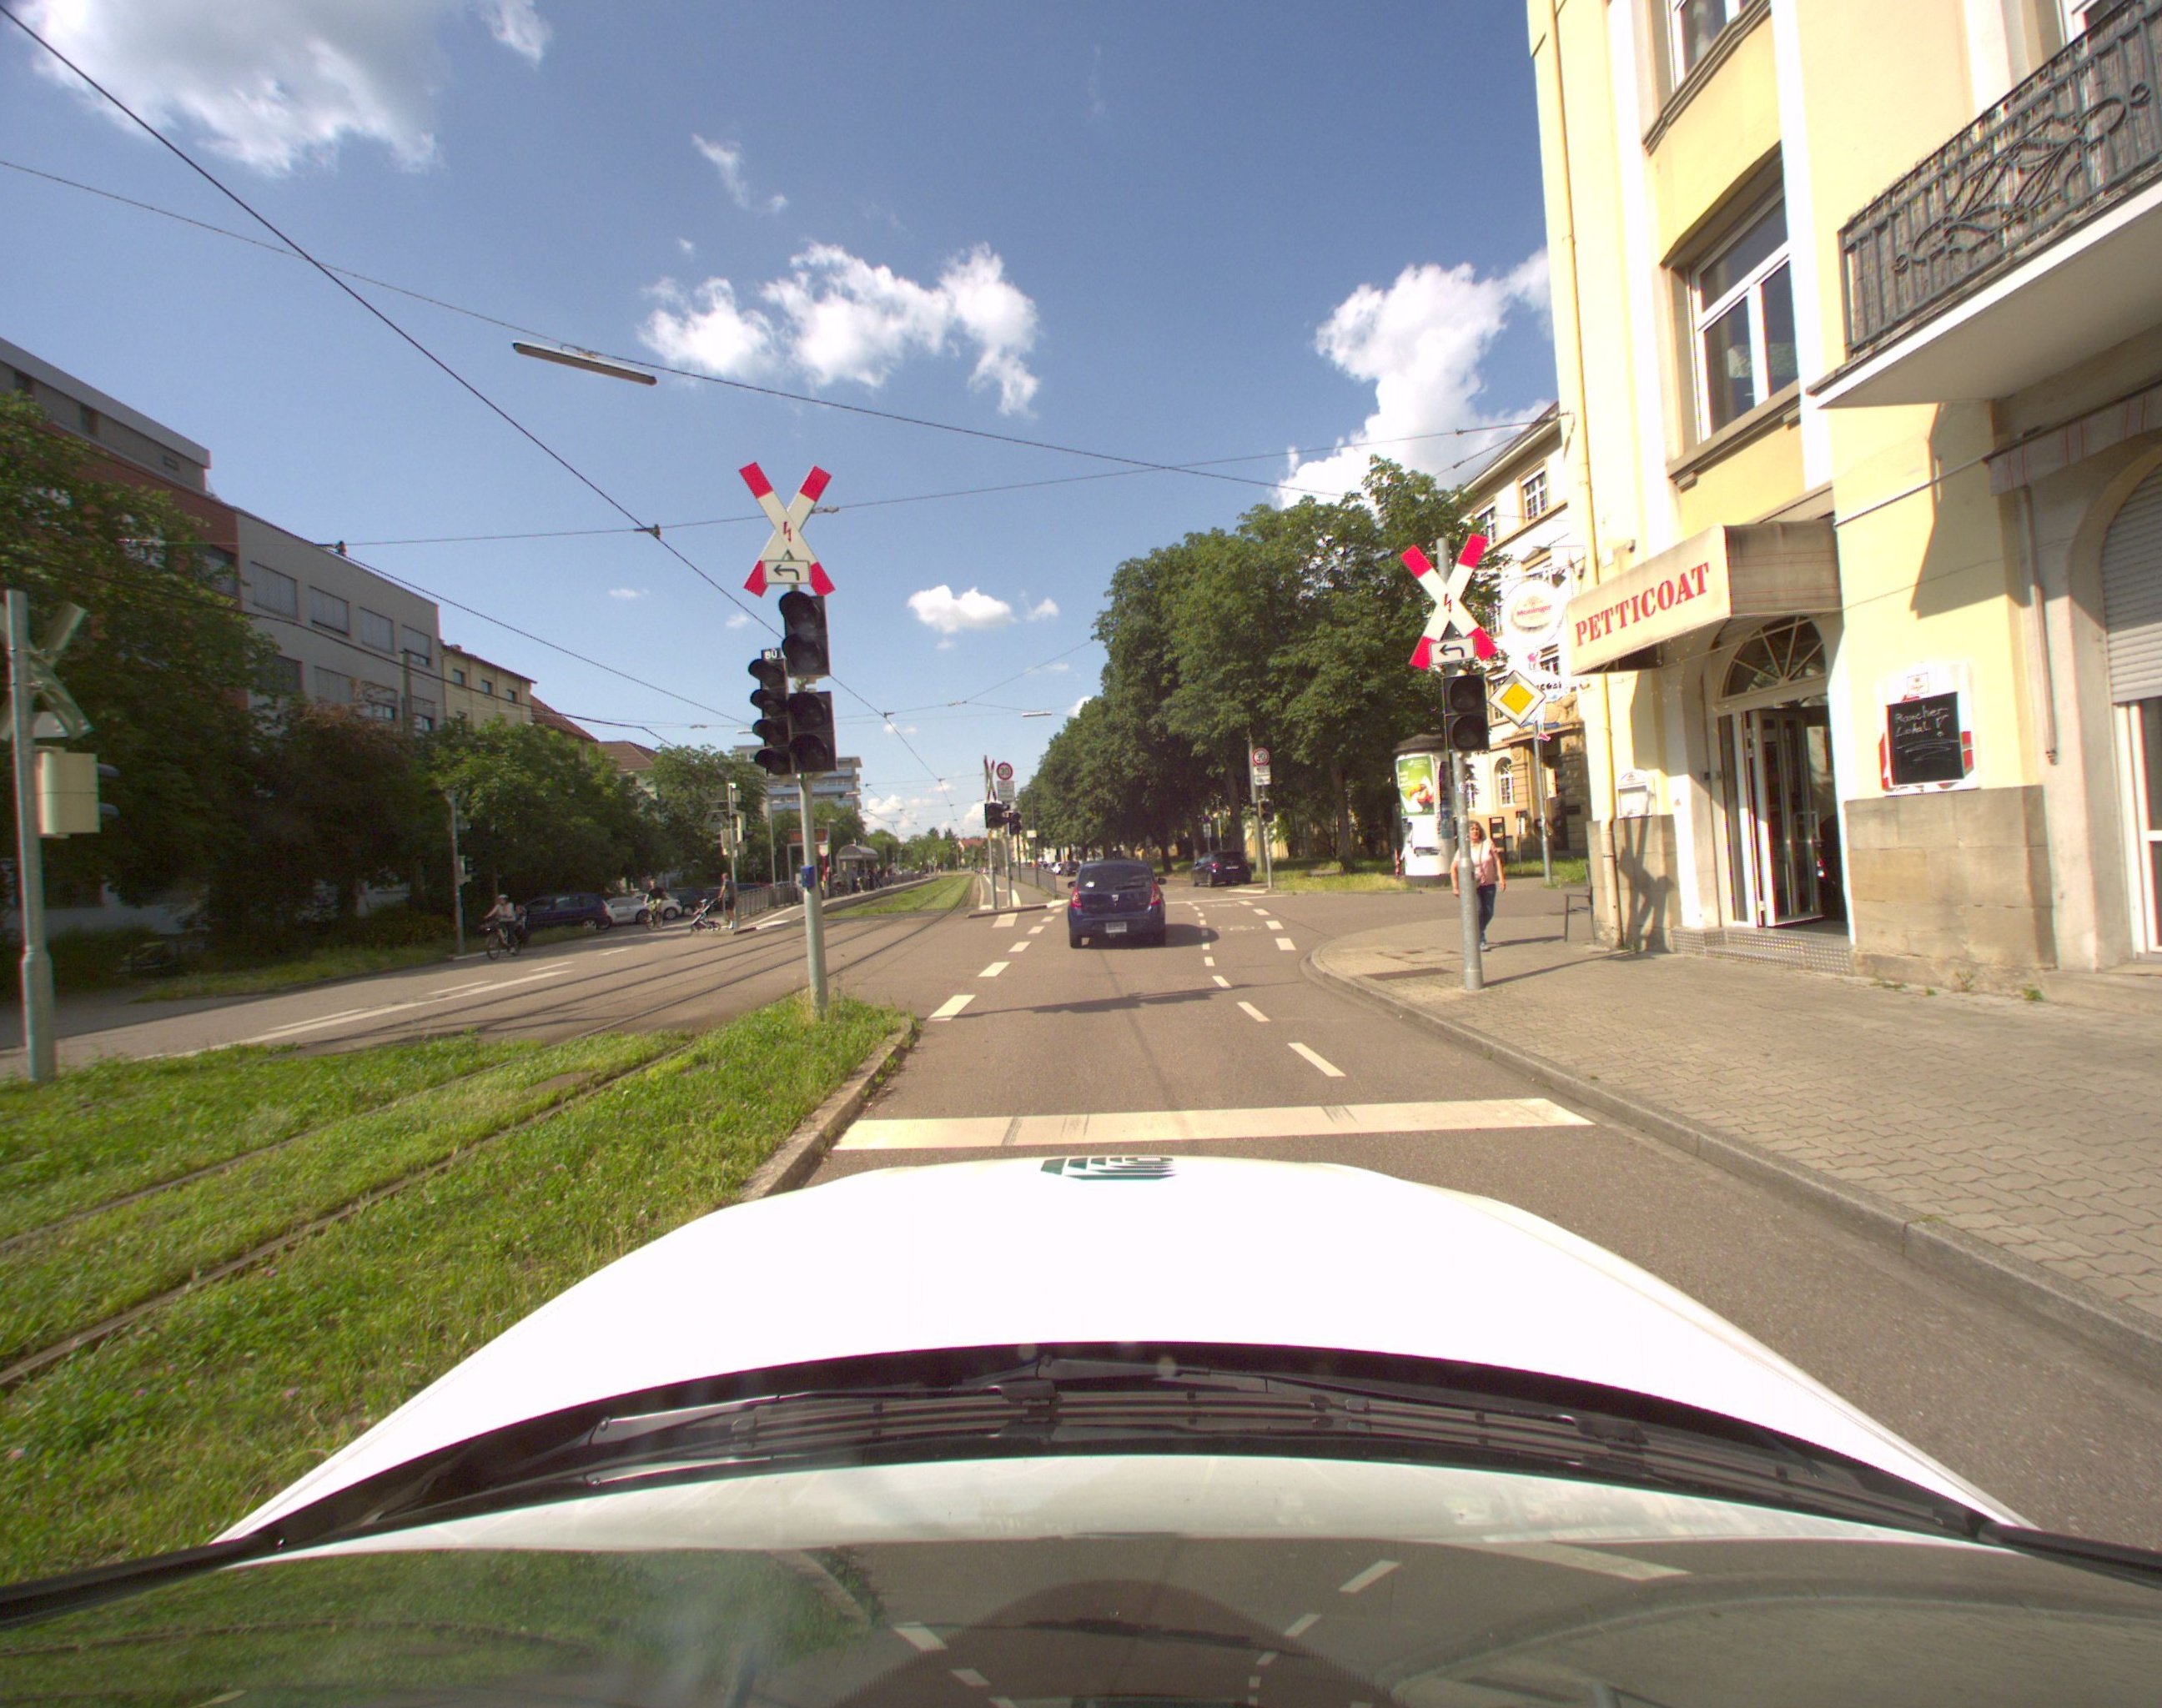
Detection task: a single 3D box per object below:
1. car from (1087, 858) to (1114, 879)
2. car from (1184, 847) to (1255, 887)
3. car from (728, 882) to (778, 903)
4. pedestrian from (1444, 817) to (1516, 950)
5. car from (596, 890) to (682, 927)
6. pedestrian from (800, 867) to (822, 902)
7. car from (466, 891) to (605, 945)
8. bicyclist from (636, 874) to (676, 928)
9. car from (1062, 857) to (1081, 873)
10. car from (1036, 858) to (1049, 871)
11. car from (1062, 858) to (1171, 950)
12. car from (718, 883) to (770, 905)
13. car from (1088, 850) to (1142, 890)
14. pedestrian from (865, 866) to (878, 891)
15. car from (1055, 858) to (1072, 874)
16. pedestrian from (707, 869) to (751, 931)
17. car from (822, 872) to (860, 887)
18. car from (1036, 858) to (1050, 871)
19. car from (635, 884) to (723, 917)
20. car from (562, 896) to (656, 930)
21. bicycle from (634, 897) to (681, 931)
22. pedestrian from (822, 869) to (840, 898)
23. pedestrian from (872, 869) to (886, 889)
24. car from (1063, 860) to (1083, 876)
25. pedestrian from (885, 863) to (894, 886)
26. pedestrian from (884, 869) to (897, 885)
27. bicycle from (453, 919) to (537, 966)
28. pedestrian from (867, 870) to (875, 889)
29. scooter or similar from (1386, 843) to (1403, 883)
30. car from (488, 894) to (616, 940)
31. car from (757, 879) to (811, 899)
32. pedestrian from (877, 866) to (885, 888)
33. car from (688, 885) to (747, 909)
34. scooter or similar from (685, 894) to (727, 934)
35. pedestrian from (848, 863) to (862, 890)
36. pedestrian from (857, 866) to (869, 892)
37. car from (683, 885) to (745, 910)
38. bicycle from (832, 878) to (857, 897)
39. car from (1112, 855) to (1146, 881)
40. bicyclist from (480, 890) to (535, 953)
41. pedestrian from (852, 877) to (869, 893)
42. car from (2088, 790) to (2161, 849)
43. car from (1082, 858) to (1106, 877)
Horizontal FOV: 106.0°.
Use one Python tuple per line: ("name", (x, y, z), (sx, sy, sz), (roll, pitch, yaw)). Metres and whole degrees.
("car", (1.529, 1.133, 66.059), (1.856, 1.445, 3.998), (-6, 0, -1))
("car", (5.659, 0.528, 33.796), (1.764, 1.433, 3.893), (-5, 0, -8))
("car", (-25.708, 3.016, 63.854), (1.437, 1.309, 3.268), (-4, 0, 37))
("pedestrian", (5.219, 0.383, 10.698), (0.666, 1.648, 0.767), (-5, -1, 21))
("car", (-22.053, 2.700, 40.672), (3.409, 1.505, 1.525), (-4, -1, -45))
("pedestrian", (-13.747, 1.533, 41.406), (0.705, 1.726, 0.672), (-4, -1, 35))
("car", (-21.221, 2.458, 31.805), (1.704, 1.640, 4.158), (-4, -1, 44))
("bicyclist", (-16.858, 1.847, 32.327), (0.949, 2.013, 1.568), (-4, -1, -14))
("car", (-1.052, 1.174, 88.789), (1.823, 1.537, 3.998), (-5, 0, -1))
("car", (-5.760, 1.519, 121.998), (1.664, 1.772, 3.996), (-4, 0, -3))
("car", (0.671, 0.851, 15.550), (1.761, 1.462, 3.777), (-2, 0, 2))
("car", (-25.111, 2.961, 60.776), (1.437, 1.309, 3.268), (-4, 0, 37))
("car", (1.252, 0.567, 31.208), (1.696, 1.368, 3.511), (-3, 0, -3))
("pedestrian", (-14.964, 1.741, 58.235), (0.602, 1.766, 0.639), (-4, -1, 2))
("car", (-2.122, 1.384, 96.979), (1.616, 1.750, 3.991), (-4, 0, -6))
("pedestrian", (-10.894, 1.407, 25.217), (0.871, 1.775, 1.000), (-6, 0, -10))
("car", (-28.293, 3.004, 96.038), (1.618, 1.385, 4.026), (-4, 0, 38))
("car", (-5.419, 1.461, 115.885), (1.825, 1.761, 3.998), (-4, 0, -1))
("car", (-22.696, 2.624, 46.090), (1.669, 1.456, 4.025), (-5, 0, 43))
("car", (-21.696, 2.694, 37.522), (1.525, 1.236, 3.410), (-4, -1, 44))
("bicycle", (-16.802, 2.368, 32.353), (1.156, 1.177, 1.779), (-5, -1, -14))
("pedestrian", (-14.284, 1.680, 46.532), (0.661, 1.569, 0.686), (-5, 0, 1))
("pedestrian", (-14.638, 1.821, 58.981), (0.648, 1.426, 0.566), (-5, -1, 30))
("car", (-0.874, 1.431, 83.220), (1.856, 1.445, 3.998), (-5, 0, -1))
("pedestrian", (-17.443, 1.886, 74.278), (0.661, 2.013, 0.800), (-4, -1, -13))
("pedestrian", (-18.216, 2.218, 77.918), (1.033, 1.437, 0.698), (-5, 0, -22))
("bicycle", (-15.679, 2.340, 21.869), (0.679, 0.971, 2.176), (-5, 0, -3))
("pedestrian", (-16.712, 2.037, 64.819), (0.489, 1.452, 0.461), (-5, -1, -17))
("scooter or similar", (9.785, 0.271, 25.420), (0.303, 1.189, 1.167), (-4, 0, 16))
("car", (-22.021, 2.585, 34.028), (1.704, 1.499, 4.158), (-4, -1, 44))
("car", (-25.835, 3.013, 71.024), (1.694, 1.367, 4.025), (-5, 0, 42))
("pedestrian", (-15.901, 1.819, 64.745), (0.489, 1.712, 0.461), (-5, -1, -17))
("car", (-24.459, 2.890, 54.891), (1.437, 1.309, 3.268), (-4, 0, 37))
("scooter or similar", (-11.363, 1.804, 24.716), (0.956, 1.064, 0.792), (-6, 0, -16))
("pedestrian", (-14.730, 1.464, 53.046), (0.654, 1.692, 0.655), (-5, 0, -6))
("pedestrian", (-15.309, 1.749, 57.204), (0.592, 1.736, 0.556), (-5, 0, -2))
("car", (-23.531, 2.760, 52.327), (1.437, 1.309, 3.268), (-4, 0, 35))
("bicycle", (-13.444, 1.896, 46.379), (0.683, 0.974, 1.772), (-6, 0, 3))
("car", (3.165, 0.908, 54.305), (1.856, 1.445, 3.998), (-6, 0, -1))
("bicyclist", (-15.603, 1.826, 22.173), (0.783, 1.582, 0.862), (-5, 0, -4))
("pedestrian", (-14.783, 2.069, 54.639), (0.923, 0.988, 0.796), (-5, -1, -5))
("car", (28.531, -0.938, 21.568), (1.367, 1.456, 3.288), (-4, 0, 34))
("car", (1.122, 1.155, 70.841), (1.846, 1.515, 3.998), (-4, 0, -1))
